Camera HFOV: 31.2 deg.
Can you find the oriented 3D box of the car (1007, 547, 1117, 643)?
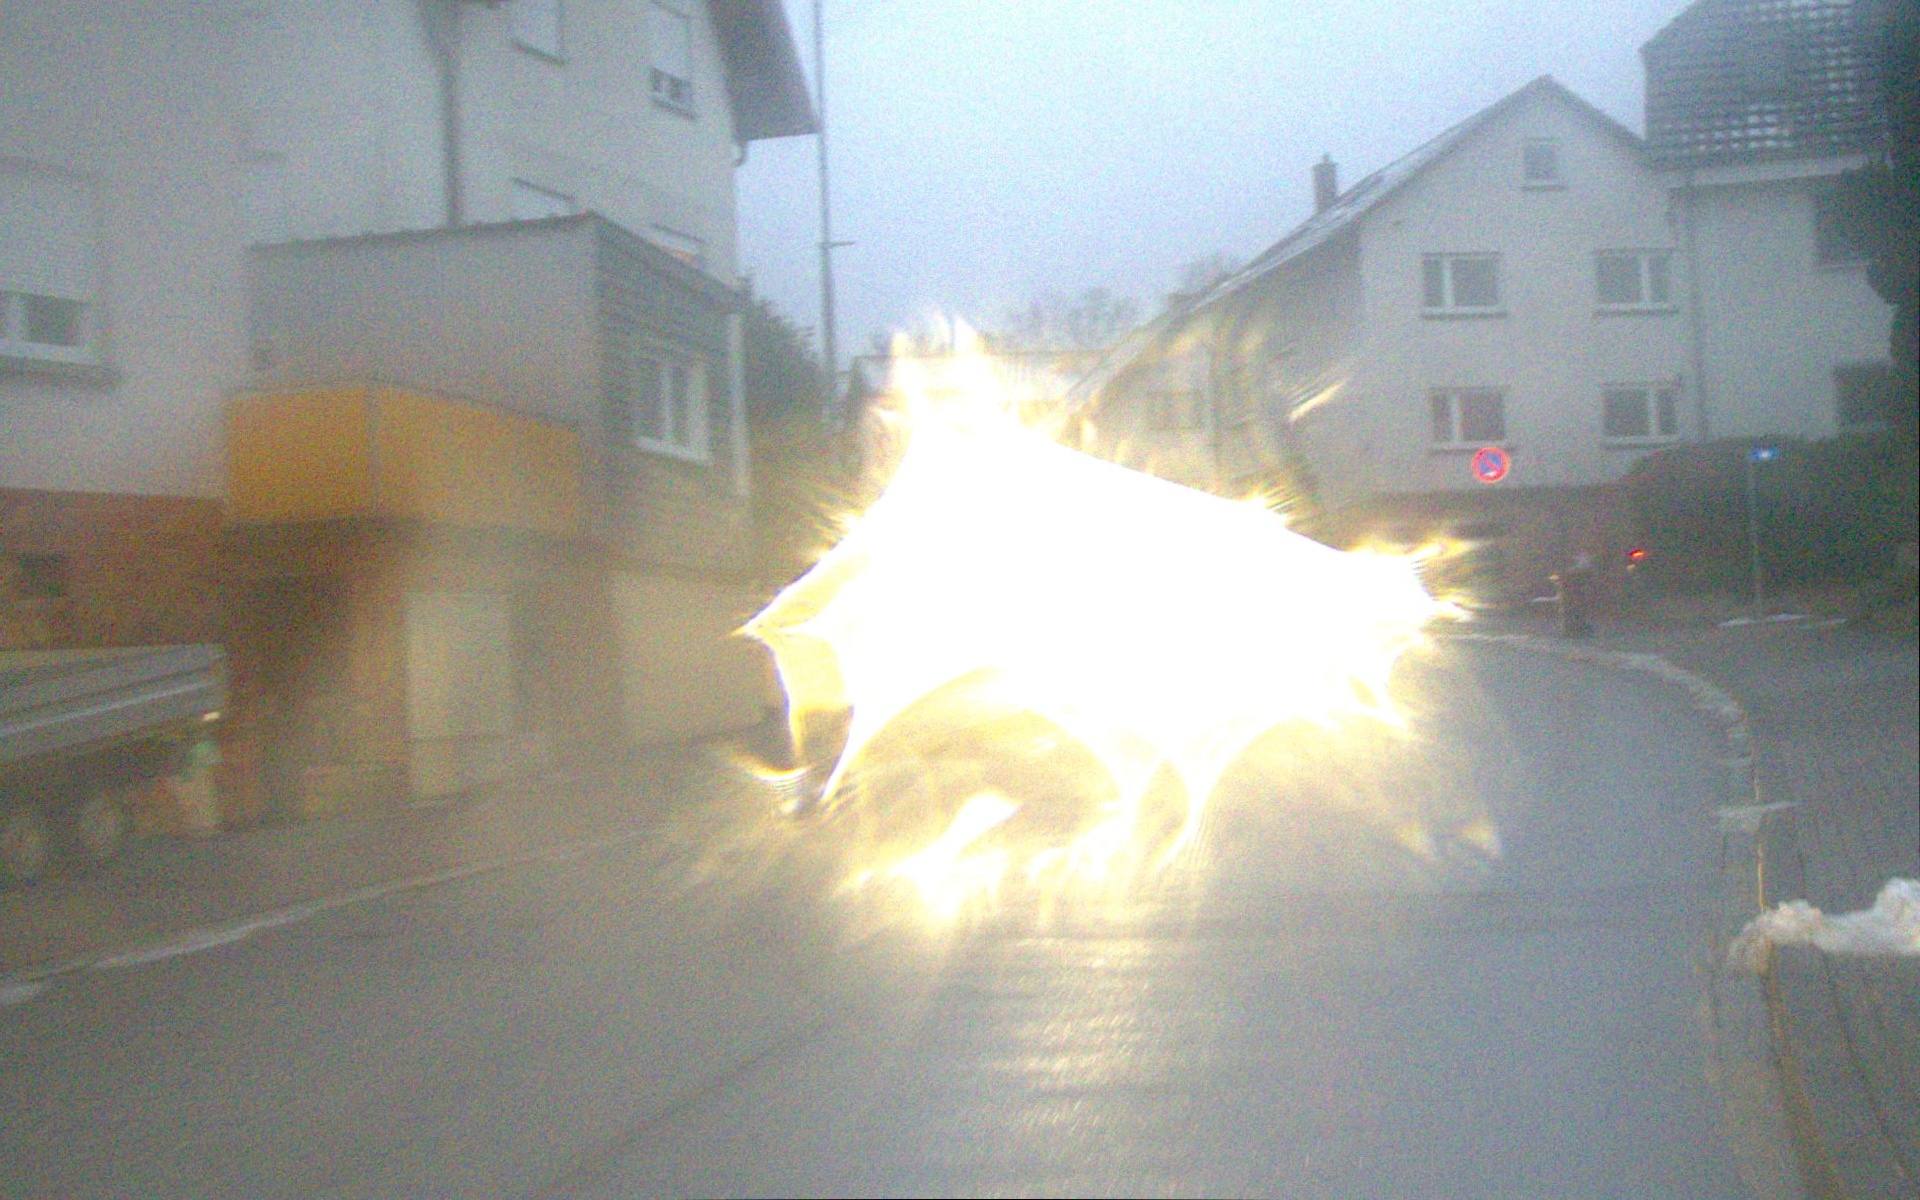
[{"bbox_3d":[2.384,-0.129,78.895,2.111,2.020,4.982,-3,0,5],"label":"car"}]

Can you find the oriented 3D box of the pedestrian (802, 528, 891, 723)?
[{"bbox_3d":[-1.020,0.233,31.042,0.598,1.727,0.811,-1,-1,12],"label":"pedestrian"}]

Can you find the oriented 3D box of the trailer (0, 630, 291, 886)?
[{"bbox_3d":[-5.511,0.833,17.578,2.060,1.165,4.864,-2,0,16],"label":"trailer"}]
